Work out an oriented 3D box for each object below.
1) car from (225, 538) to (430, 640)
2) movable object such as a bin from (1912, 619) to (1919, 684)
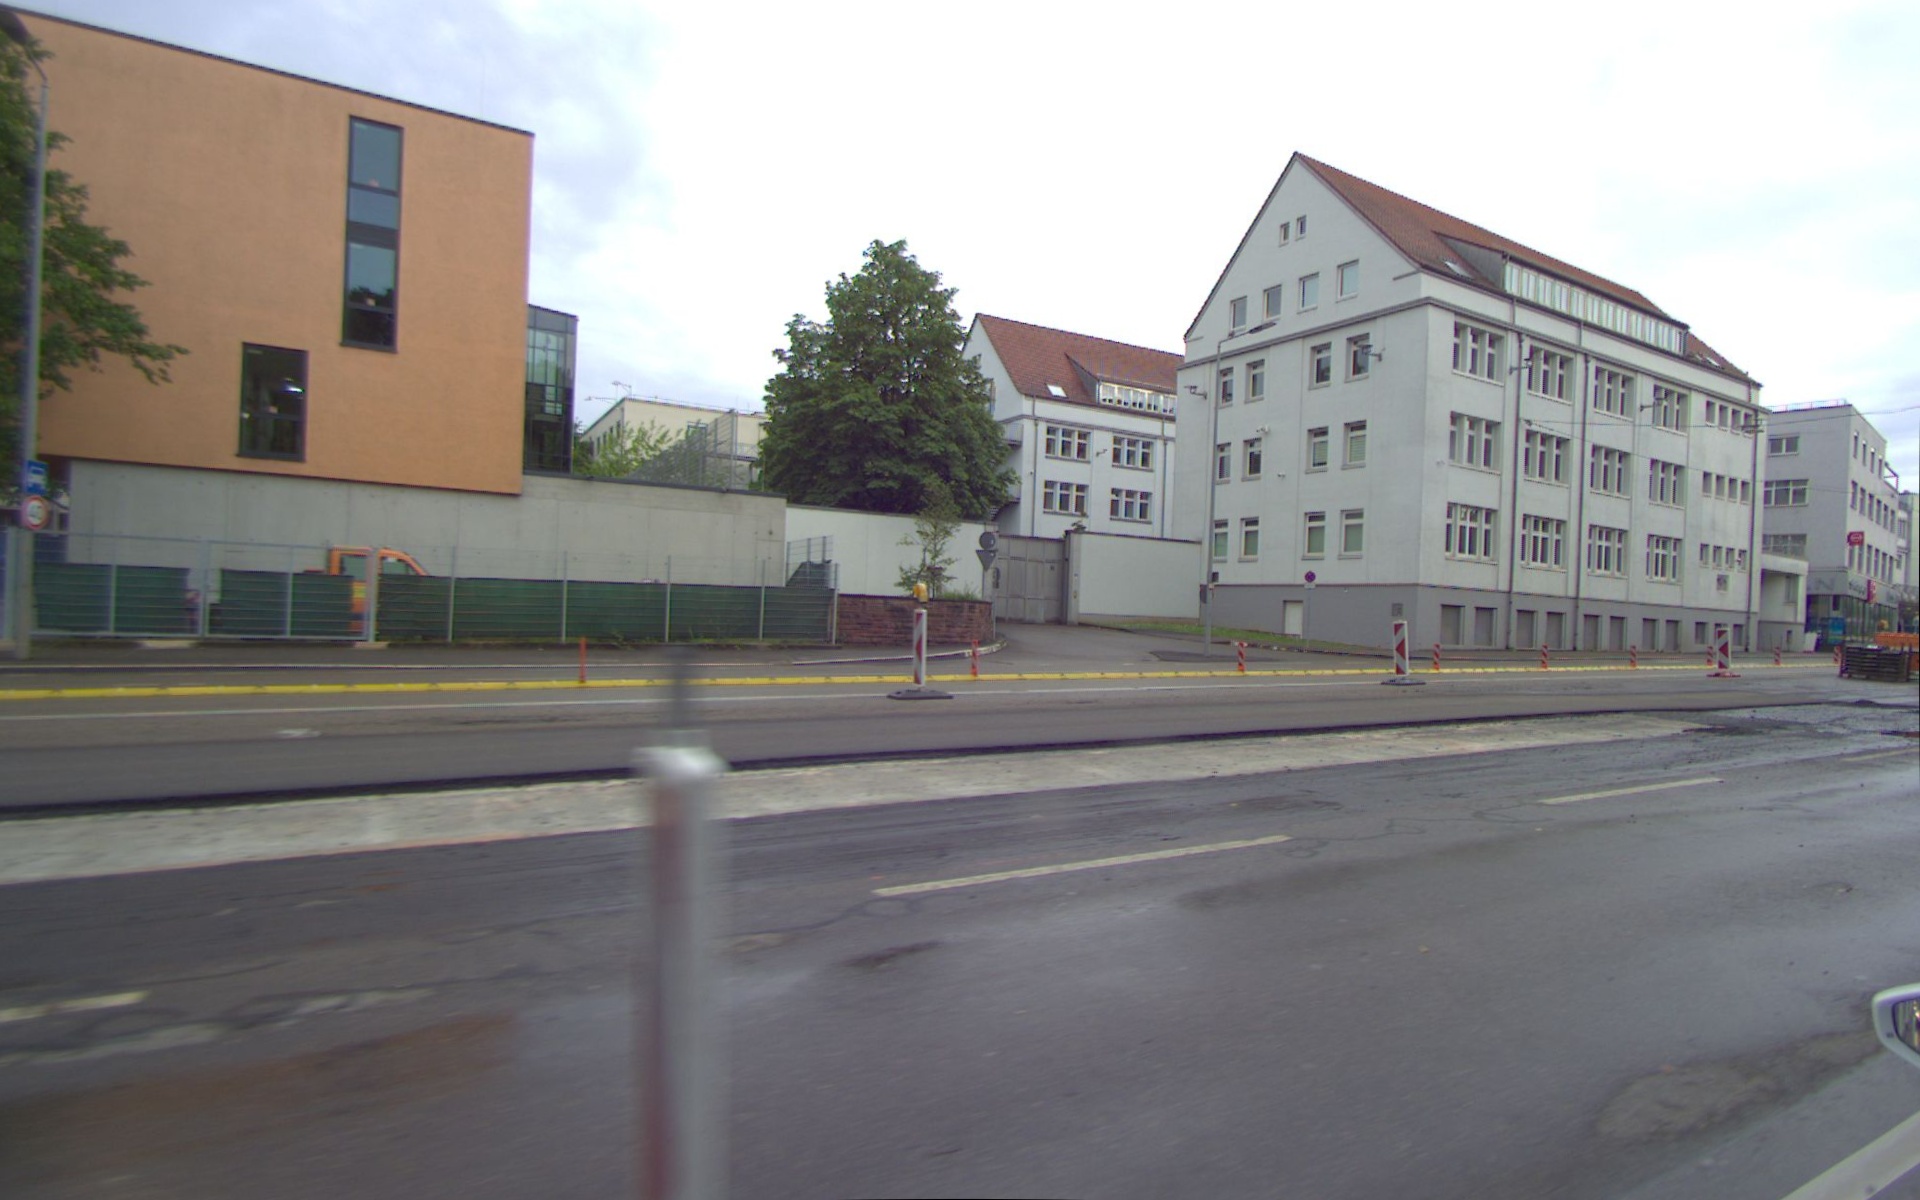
[{"bbox_3d":[-14.922,-0.213,23.902,3.954,2.199,1.602,2,0,-31],"label":"car"},{"bbox_3d":[25.765,1.363,25.932,2.411,1.666,1.078,2,0,-31],"label":"movable object such as a bin"}]
